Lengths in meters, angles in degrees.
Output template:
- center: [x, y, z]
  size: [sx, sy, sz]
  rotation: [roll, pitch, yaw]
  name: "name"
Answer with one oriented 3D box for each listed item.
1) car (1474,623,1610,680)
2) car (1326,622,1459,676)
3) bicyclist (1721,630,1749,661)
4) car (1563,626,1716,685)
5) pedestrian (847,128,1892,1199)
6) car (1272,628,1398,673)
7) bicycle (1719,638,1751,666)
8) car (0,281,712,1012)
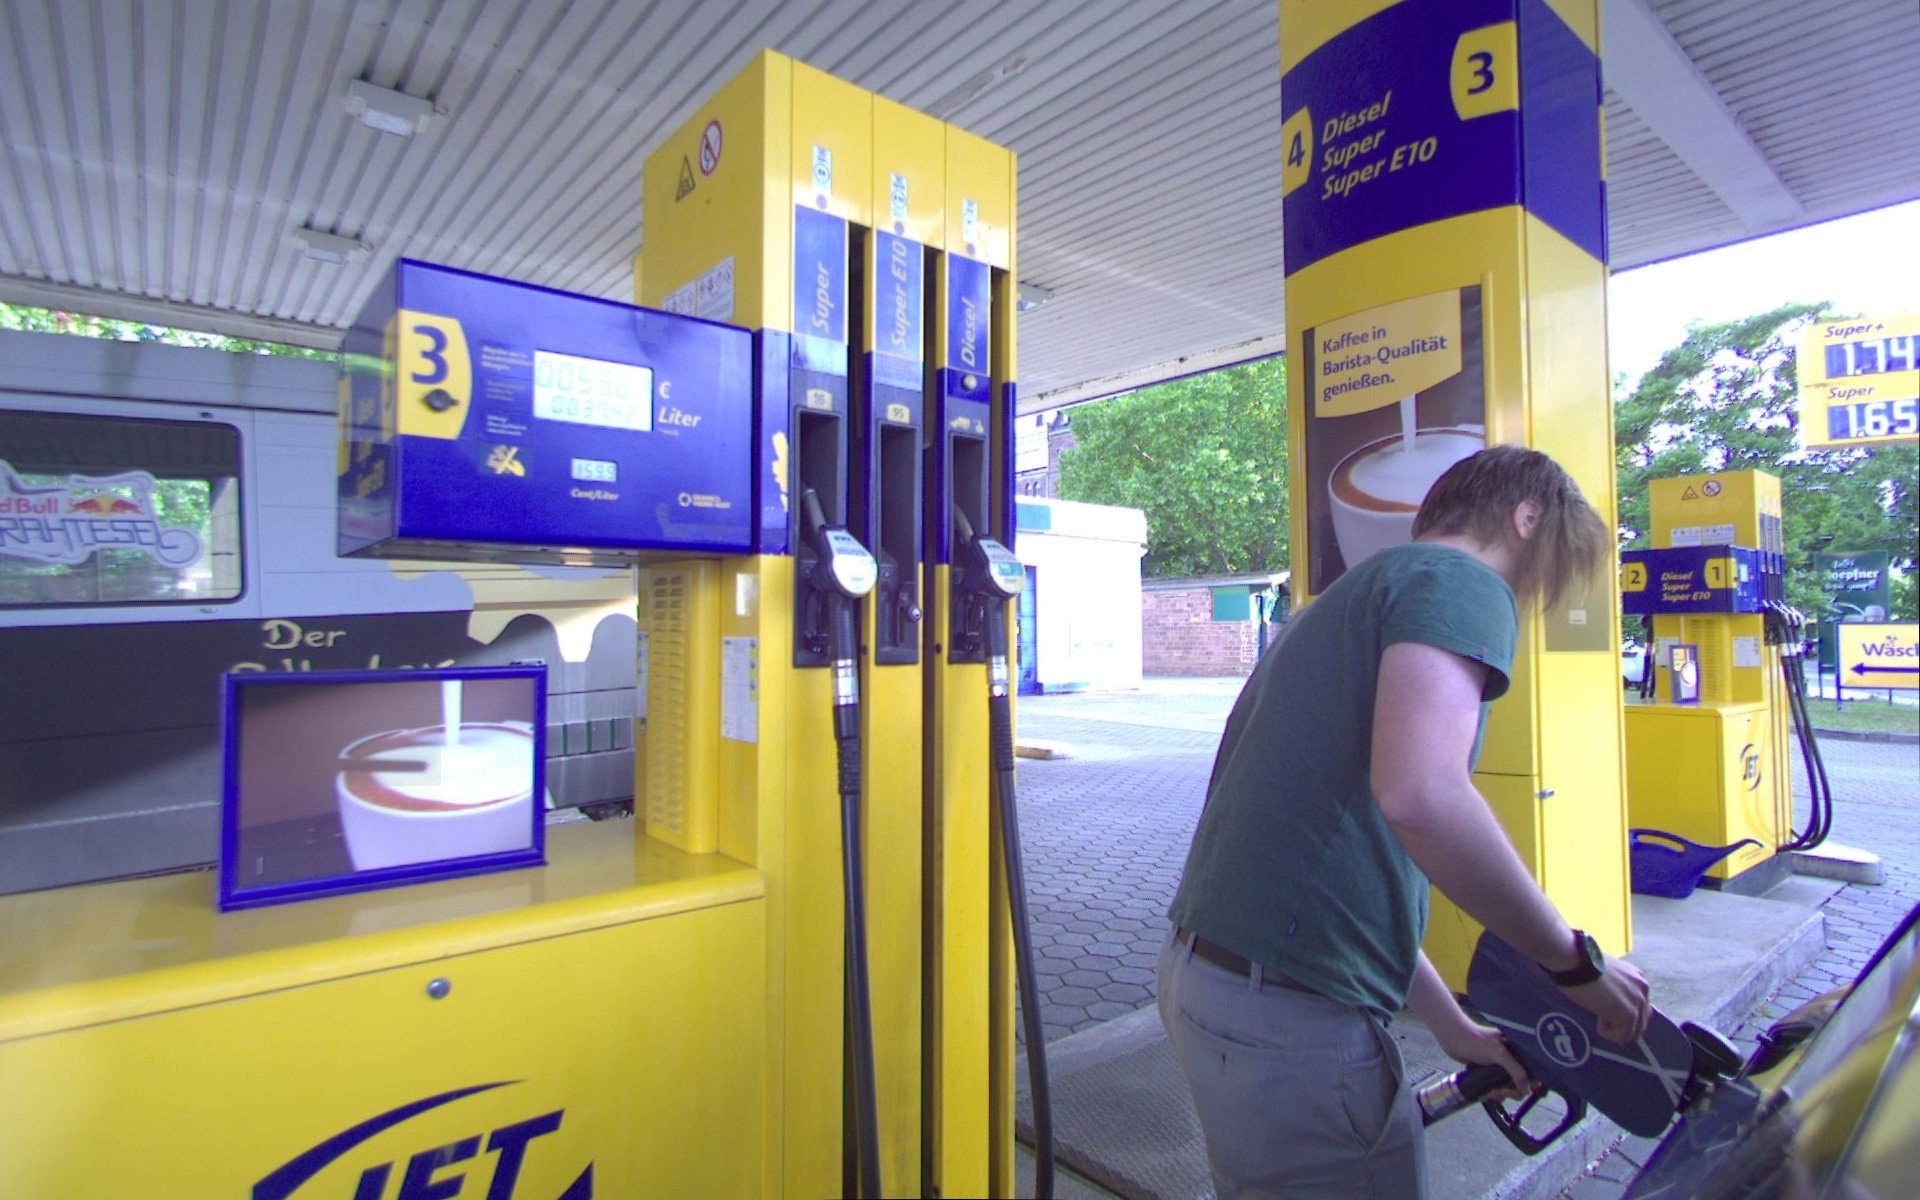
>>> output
- center: [17.758, 1.573, 30.848]
  size: [4.112, 1.606, 1.826]
  rotation: [2, -3, -31]
  name: "car"
- center: [13.769, 1.563, 32.166]
  size: [4.112, 1.606, 1.826]
  rotation: [2, -3, -31]
  name: "car"
- center: [37.420, 2.201, 48.881]
  size: [0.844, 1.441, 1.028]
  rotation: [-2, -1, 26]
  name: "bicyclist"
- center: [18.242, 1.482, 27.131]
  size: [4.112, 1.478, 1.826]
  rotation: [2, -3, -31]
  name: "car"
- center: [0.601, 0.506, 1.514]
  size: [1.161, 1.750, 0.993]
  rotation: [-2, 1, -38]
  name: "pedestrian"
- center: [12.630, 1.694, 34.029]
  size: [4.112, 1.453, 1.826]
  rotation: [2, -3, -31]
  name: "car"
- center: [37.421, 2.485, 48.884]
  size: [0.844, 1.255, 1.866]
  rotation: [-2, -1, 26]
  name: "bicycle"
- center: [-4.108, 0.183, 4.851]
  size: [5.248, 2.760, 2.201]
  rotation: [0, -1, -39]
  name: "car"
